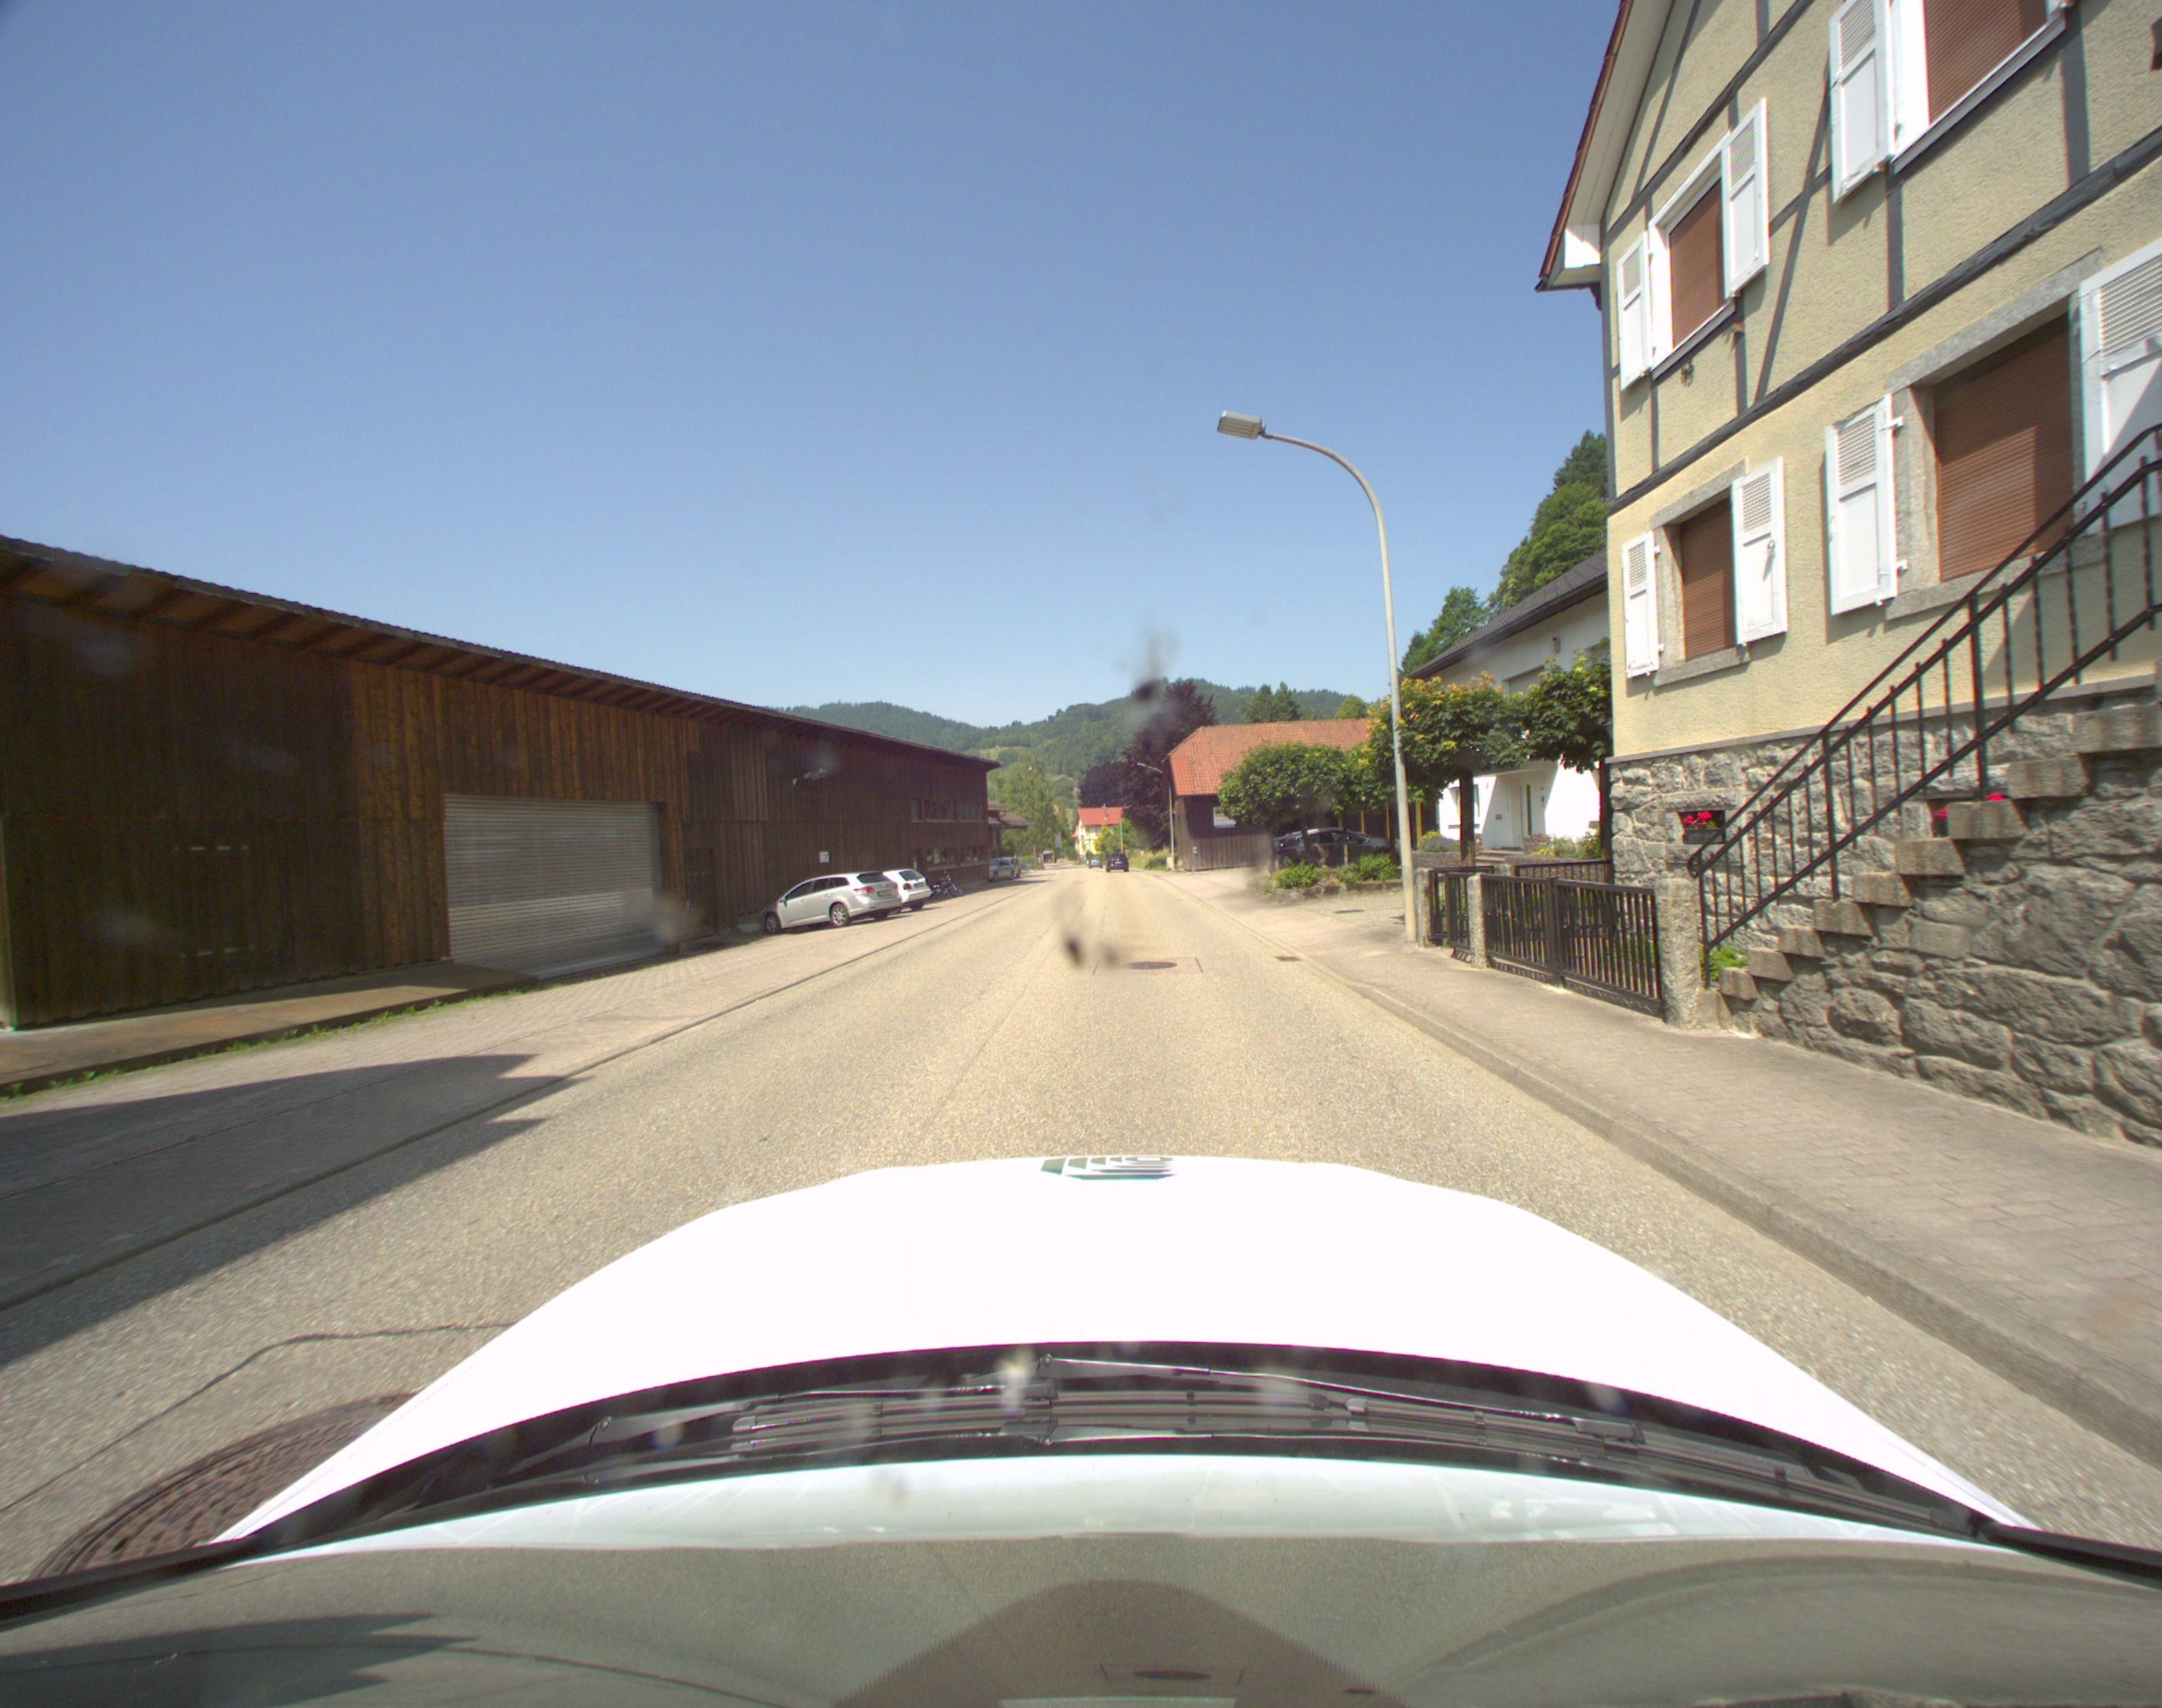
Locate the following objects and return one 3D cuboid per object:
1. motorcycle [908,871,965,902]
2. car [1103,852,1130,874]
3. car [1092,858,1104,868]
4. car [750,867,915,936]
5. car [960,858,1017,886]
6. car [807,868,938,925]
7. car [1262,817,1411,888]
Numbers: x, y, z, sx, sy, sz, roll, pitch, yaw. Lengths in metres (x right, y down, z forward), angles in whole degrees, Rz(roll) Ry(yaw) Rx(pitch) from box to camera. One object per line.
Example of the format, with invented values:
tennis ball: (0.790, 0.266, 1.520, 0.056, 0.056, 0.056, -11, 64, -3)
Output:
motorcycle: (-6.591, 1.478, 37.210, 2.392, 1.264, 0.746, -4, 0, 12)
car: (3.020, 0.750, 69.512, 1.915, 1.698, 3.784, -4, 0, -3)
car: (2.252, 1.254, 109.486, 1.473, 1.209, 2.382, -4, 0, -2)
car: (-7.286, 1.395, 23.835, 4.387, 1.474, 1.936, -7, -1, 28)
car: (-5.677, 1.084, 50.590, 1.715, 1.454, 4.826, -3, 1, 16)
car: (-6.790, 1.375, 26.626, 3.630, 1.385, 1.719, -7, -1, 17)
car: (8.215, -0.047, 26.518, 4.200, 1.687, 1.779, -8, -1, 5)
